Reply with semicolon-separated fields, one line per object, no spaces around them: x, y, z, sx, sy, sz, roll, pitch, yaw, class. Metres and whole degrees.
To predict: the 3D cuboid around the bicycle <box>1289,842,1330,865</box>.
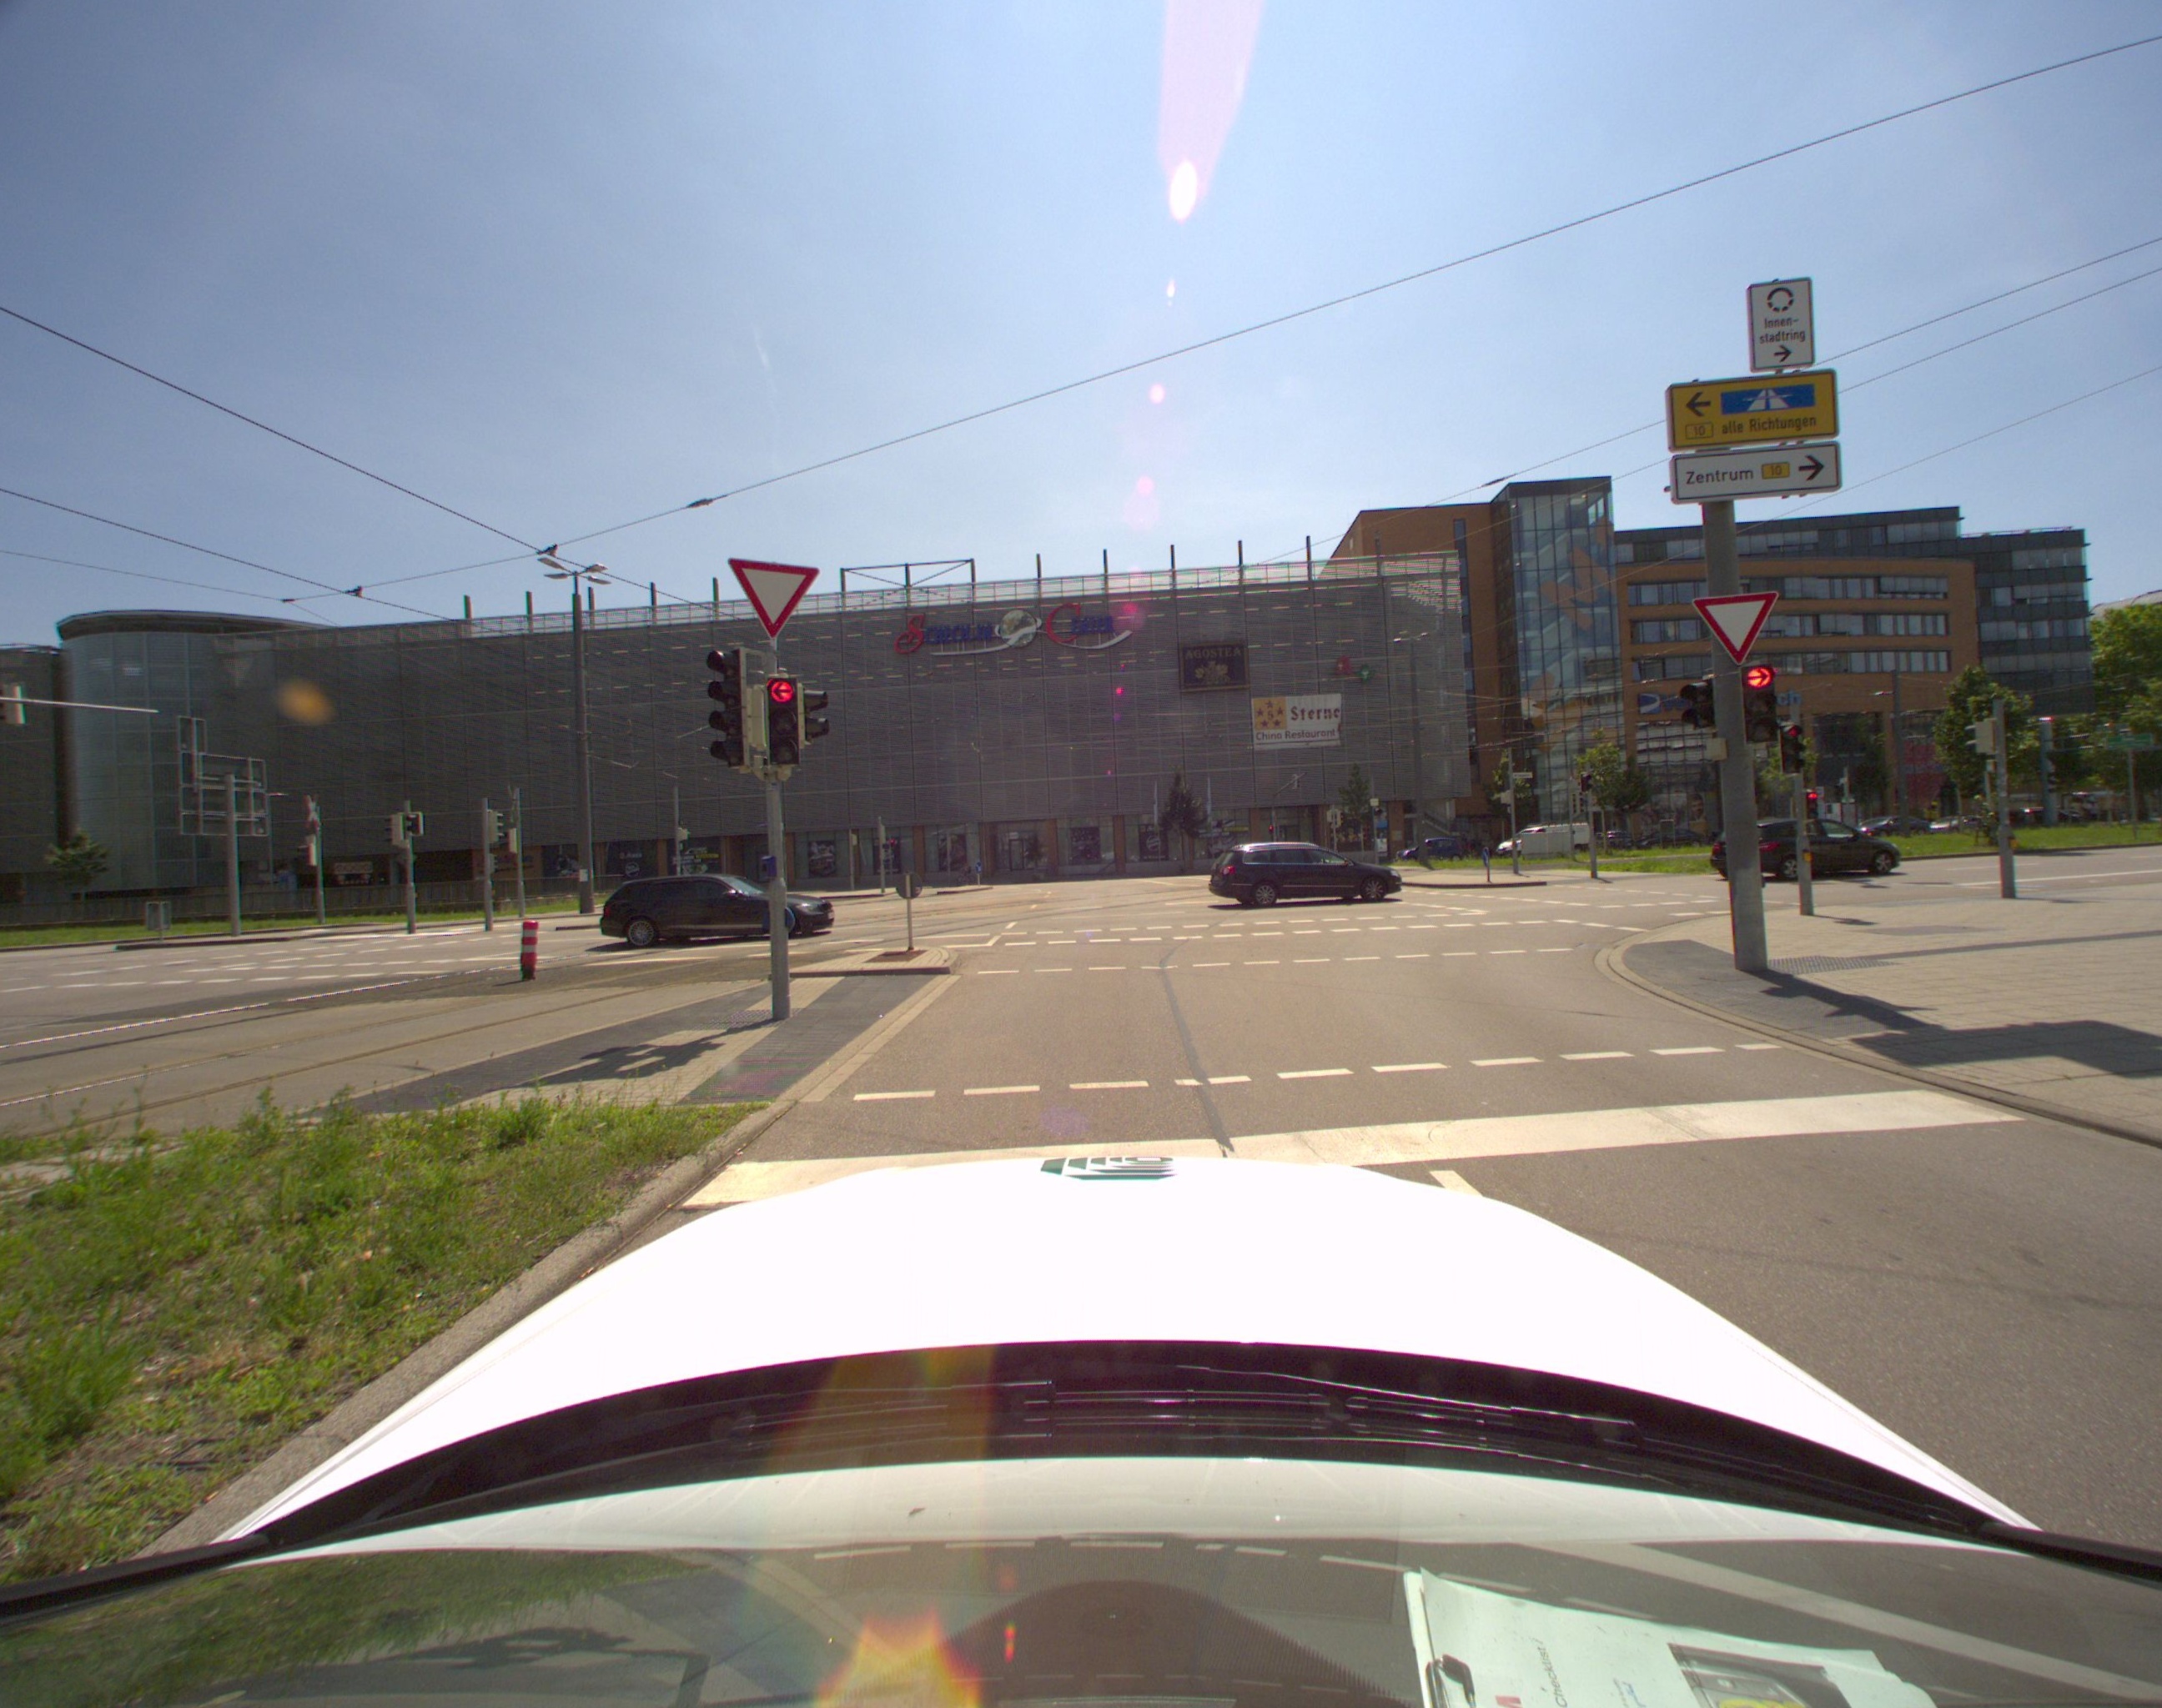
16.718;-0.026;59.624;2.836;1.557;0.706;-2;0;5;bicycle

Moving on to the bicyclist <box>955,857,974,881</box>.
-7.929;1.039;55.389;1.033;1.571;0.779;-2;0;9;bicyclist

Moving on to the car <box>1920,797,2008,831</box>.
58.098;-2.616;53.589;3.984;2.013;1.995;-2;0;-8;car

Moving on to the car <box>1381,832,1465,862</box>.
19.393;-0.417;46.263;3.973;1.538;1.881;-2;0;0;car

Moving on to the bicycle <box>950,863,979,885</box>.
-7.908;1.340;55.457;1.055;1.390;3.032;-2;1;10;bicycle

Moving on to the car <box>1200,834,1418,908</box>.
5.580;0.379;20.304;4.845;1.580;1.998;-2;0;-4;car

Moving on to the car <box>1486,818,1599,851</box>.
26.383;-1.125;46.655;5.450;1.668;1.998;-2;0;-3;car

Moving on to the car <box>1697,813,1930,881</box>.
18.834;-0.188;21.078;4.308;1.553;1.999;-2;0;-2;car

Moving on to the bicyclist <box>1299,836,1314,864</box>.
16.499;-0.306;59.628;0.908;2.013;0.749;-2;0;4;bicyclist

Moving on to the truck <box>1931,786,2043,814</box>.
111.460;-6.589;100.417;1.999;2.809;9.184;-2;1;-18;truck

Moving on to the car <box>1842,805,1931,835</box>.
47.936;-2.011;48.511;3.812;1.574;1.629;-2;0;-3;car

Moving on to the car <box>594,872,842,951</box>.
-7.316;1.131;16.729;4.292;1.342;1.635;-2;0;-1;car
